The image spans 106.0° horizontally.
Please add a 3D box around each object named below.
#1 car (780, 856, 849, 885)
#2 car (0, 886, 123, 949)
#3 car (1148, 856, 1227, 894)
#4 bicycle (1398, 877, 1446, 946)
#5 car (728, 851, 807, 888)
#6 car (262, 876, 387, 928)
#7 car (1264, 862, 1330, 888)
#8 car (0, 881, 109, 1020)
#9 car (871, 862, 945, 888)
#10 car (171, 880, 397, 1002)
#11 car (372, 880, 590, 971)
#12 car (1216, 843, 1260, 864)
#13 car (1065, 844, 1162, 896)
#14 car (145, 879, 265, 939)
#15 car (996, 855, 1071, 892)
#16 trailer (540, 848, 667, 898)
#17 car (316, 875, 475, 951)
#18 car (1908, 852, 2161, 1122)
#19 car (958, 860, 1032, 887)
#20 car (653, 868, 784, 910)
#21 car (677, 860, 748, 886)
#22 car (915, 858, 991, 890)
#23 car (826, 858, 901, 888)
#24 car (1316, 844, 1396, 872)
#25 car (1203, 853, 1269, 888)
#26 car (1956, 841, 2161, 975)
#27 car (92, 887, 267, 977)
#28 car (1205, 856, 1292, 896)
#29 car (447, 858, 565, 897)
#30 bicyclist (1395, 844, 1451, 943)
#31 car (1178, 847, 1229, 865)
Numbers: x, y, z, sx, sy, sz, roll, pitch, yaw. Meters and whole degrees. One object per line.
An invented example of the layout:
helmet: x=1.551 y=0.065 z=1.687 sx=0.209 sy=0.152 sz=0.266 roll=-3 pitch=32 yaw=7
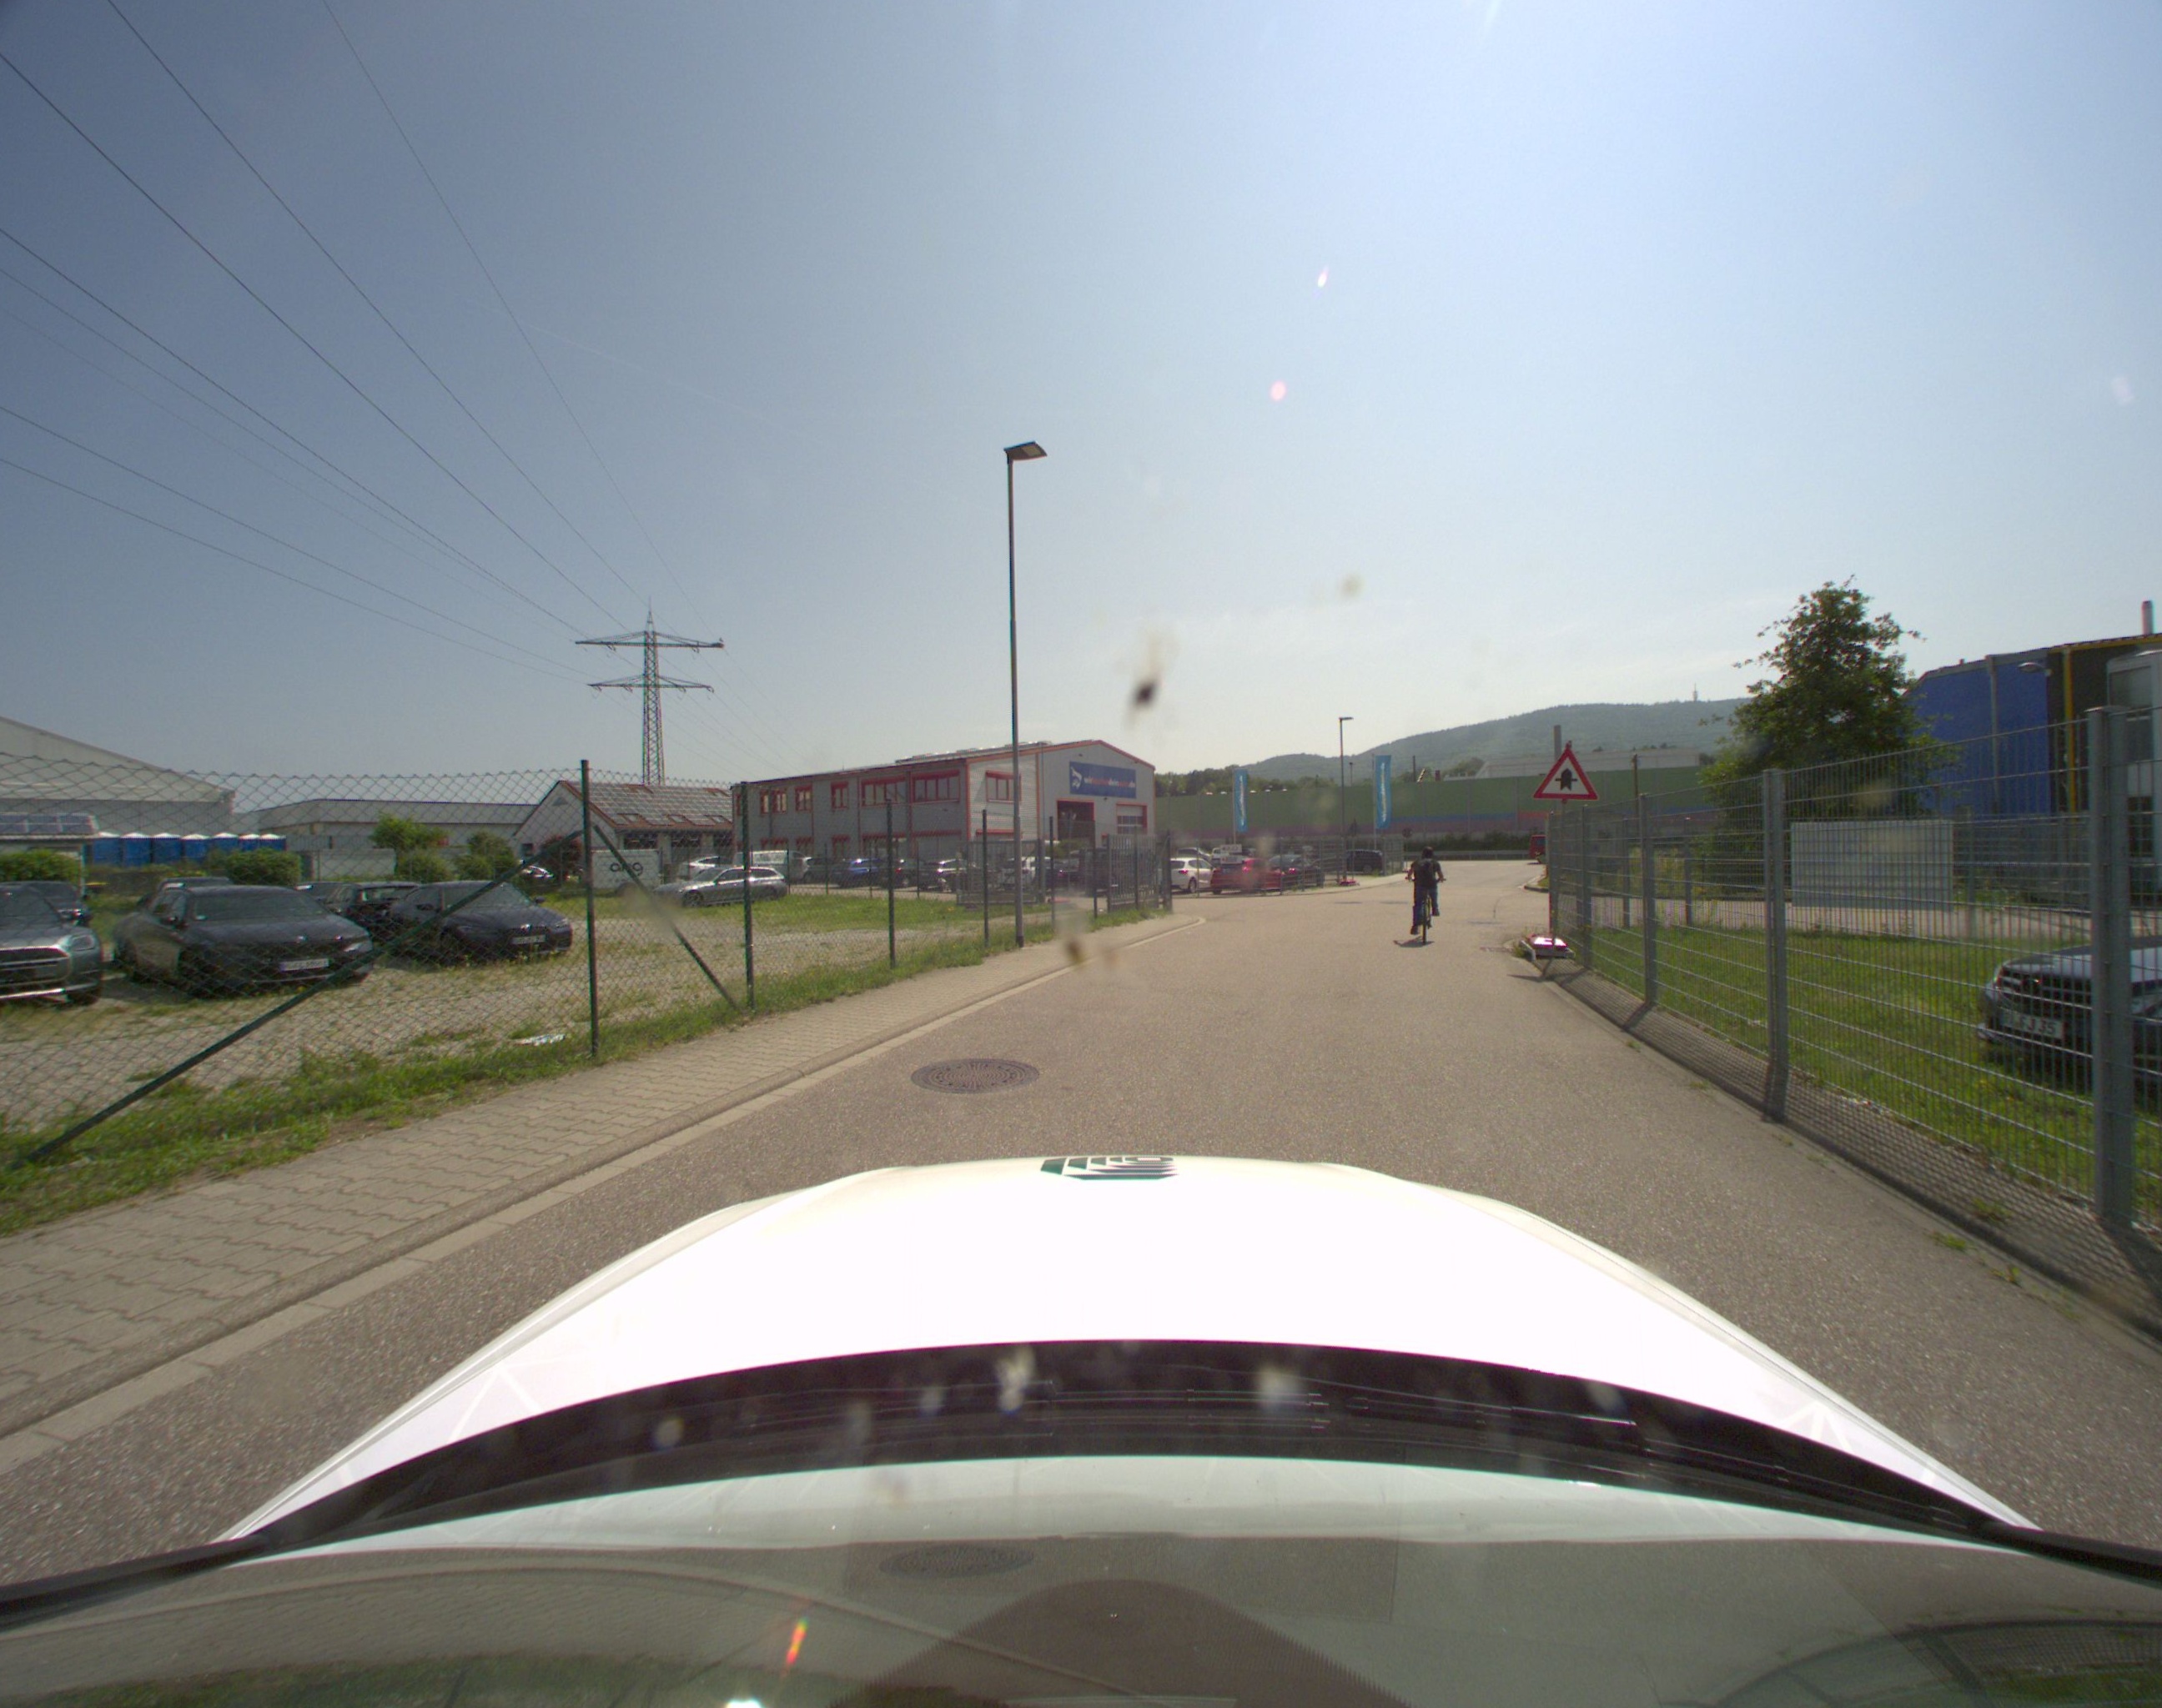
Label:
car: x=-15.383 y=0.959 z=47.149 sx=1.488 sy=1.544 sz=3.627 roll=-1 pitch=0 yaw=35
car: x=-27.473 y=1.621 z=21.774 sx=4.605 sy=1.435 sz=2.015 roll=-2 pitch=0 yaw=35
car: x=4.449 y=0.850 z=33.731 sx=1.729 sy=1.405 sz=3.627 roll=-1 pitch=0 yaw=35
bicycle: x=5.884 y=0.951 z=13.999 sx=0.679 sy=1.051 sz=1.911 roll=-1 pitch=0 yaw=24
car: x=-18.395 y=0.884 z=47.880 sx=1.800 sy=1.978 sz=3.932 roll=-1 pitch=0 yaw=35
car: x=-24.289 y=1.487 z=26.106 sx=4.605 sy=1.435 sz=2.015 roll=-2 pitch=0 yaw=35
car: x=9.618 y=0.902 z=36.011 sx=1.469 sy=1.007 sz=4.140 roll=-1 pitch=0 yaw=35
car: x=-14.617 y=1.228 z=10.829 sx=3.587 sy=1.644 sz=1.880 roll=-2 pitch=0 yaw=35
car: x=-8.761 y=1.047 z=41.542 sx=1.488 sy=1.151 sz=3.627 roll=-1 pitch=0 yaw=35
car: x=-12.472 y=1.231 z=12.698 sx=3.721 sy=1.554 sz=1.880 roll=-2 pitch=0 yaw=35
car: x=-11.618 y=1.257 z=15.672 sx=4.605 sy=1.435 sz=2.015 roll=-2 pitch=0 yaw=35
car: x=12.277 y=-0.063 z=63.572 sx=1.974 sy=1.581 sz=4.026 roll=-1 pitch=0 yaw=34
car: x=1.445 y=0.620 z=34.631 sx=1.931 sy=2.030 sz=4.546 roll=-1 pitch=0 yaw=35
car: x=-25.323 y=1.529 z=23.516 sx=3.721 sy=1.554 sz=1.880 roll=-2 pitch=0 yaw=35
car: x=-2.141 y=0.873 z=37.586 sx=1.488 sy=1.540 sz=3.627 roll=-1 pitch=0 yaw=35
trailer: x=-20.485 y=0.786 z=35.061 sx=4.485 sy=1.945 sz=1.694 roll=-2 pitch=0 yaw=-40
car: x=-15.673 y=1.247 z=18.546 sx=4.365 sy=1.435 sz=2.014 roll=-1 pitch=0 yaw=39
car: x=7.964 y=0.656 z=4.485 sx=4.385 sy=1.360 sz=1.916 roll=-1 pitch=0 yaw=18
car: x=-4.072 y=0.890 z=38.883 sx=1.488 sy=1.151 sz=3.627 roll=-1 pitch=0 yaw=35
car: x=-12.690 y=1.180 z=28.725 sx=1.219 sy=1.261 sz=4.169 roll=-1 pitch=0 yaw=35
car: x=-23.655 y=1.206 z=52.362 sx=1.488 sy=1.516 sz=3.932 roll=-1 pitch=0 yaw=35
car: x=-6.166 y=0.948 z=39.585 sx=1.488 sy=1.381 sz=3.627 roll=-1 pitch=0 yaw=35
car: x=-11.354 y=0.960 z=42.712 sx=1.488 sy=1.416 sz=3.627 roll=-1 pitch=0 yaw=35
car: x=15.995 y=0.235 z=47.443 sx=3.948 sy=1.492 sz=2.013 roll=-1 pitch=0 yaw=39
car: x=7.203 y=0.719 z=37.481 sx=1.469 sy=1.454 sz=3.919 roll=-1 pitch=0 yaw=35
car: x=12.201 y=0.493 z=8.419 sx=3.888 sy=1.277 sz=1.914 roll=-1 pitch=0 yaw=14
car: x=-17.833 y=1.419 z=16.068 sx=3.948 sy=1.420 sz=2.013 roll=-1 pitch=0 yaw=38
car: x=6.715 y=0.825 z=32.313 sx=1.851 sy=1.386 sz=4.140 roll=-1 pitch=0 yaw=35
car: x=-26.098 y=1.025 z=37.071 sx=1.852 sy=1.598 sz=4.026 roll=-2 pitch=0 yaw=37
bicyclist: x=5.880 y=0.653 z=13.974 sx=0.835 sy=1.618 sz=1.045 roll=-1 pitch=-1 yaw=24
car: x=10.986 y=0.151 z=72.982 sx=3.948 sy=1.492 sz=2.013 roll=-1 pitch=0 yaw=35
